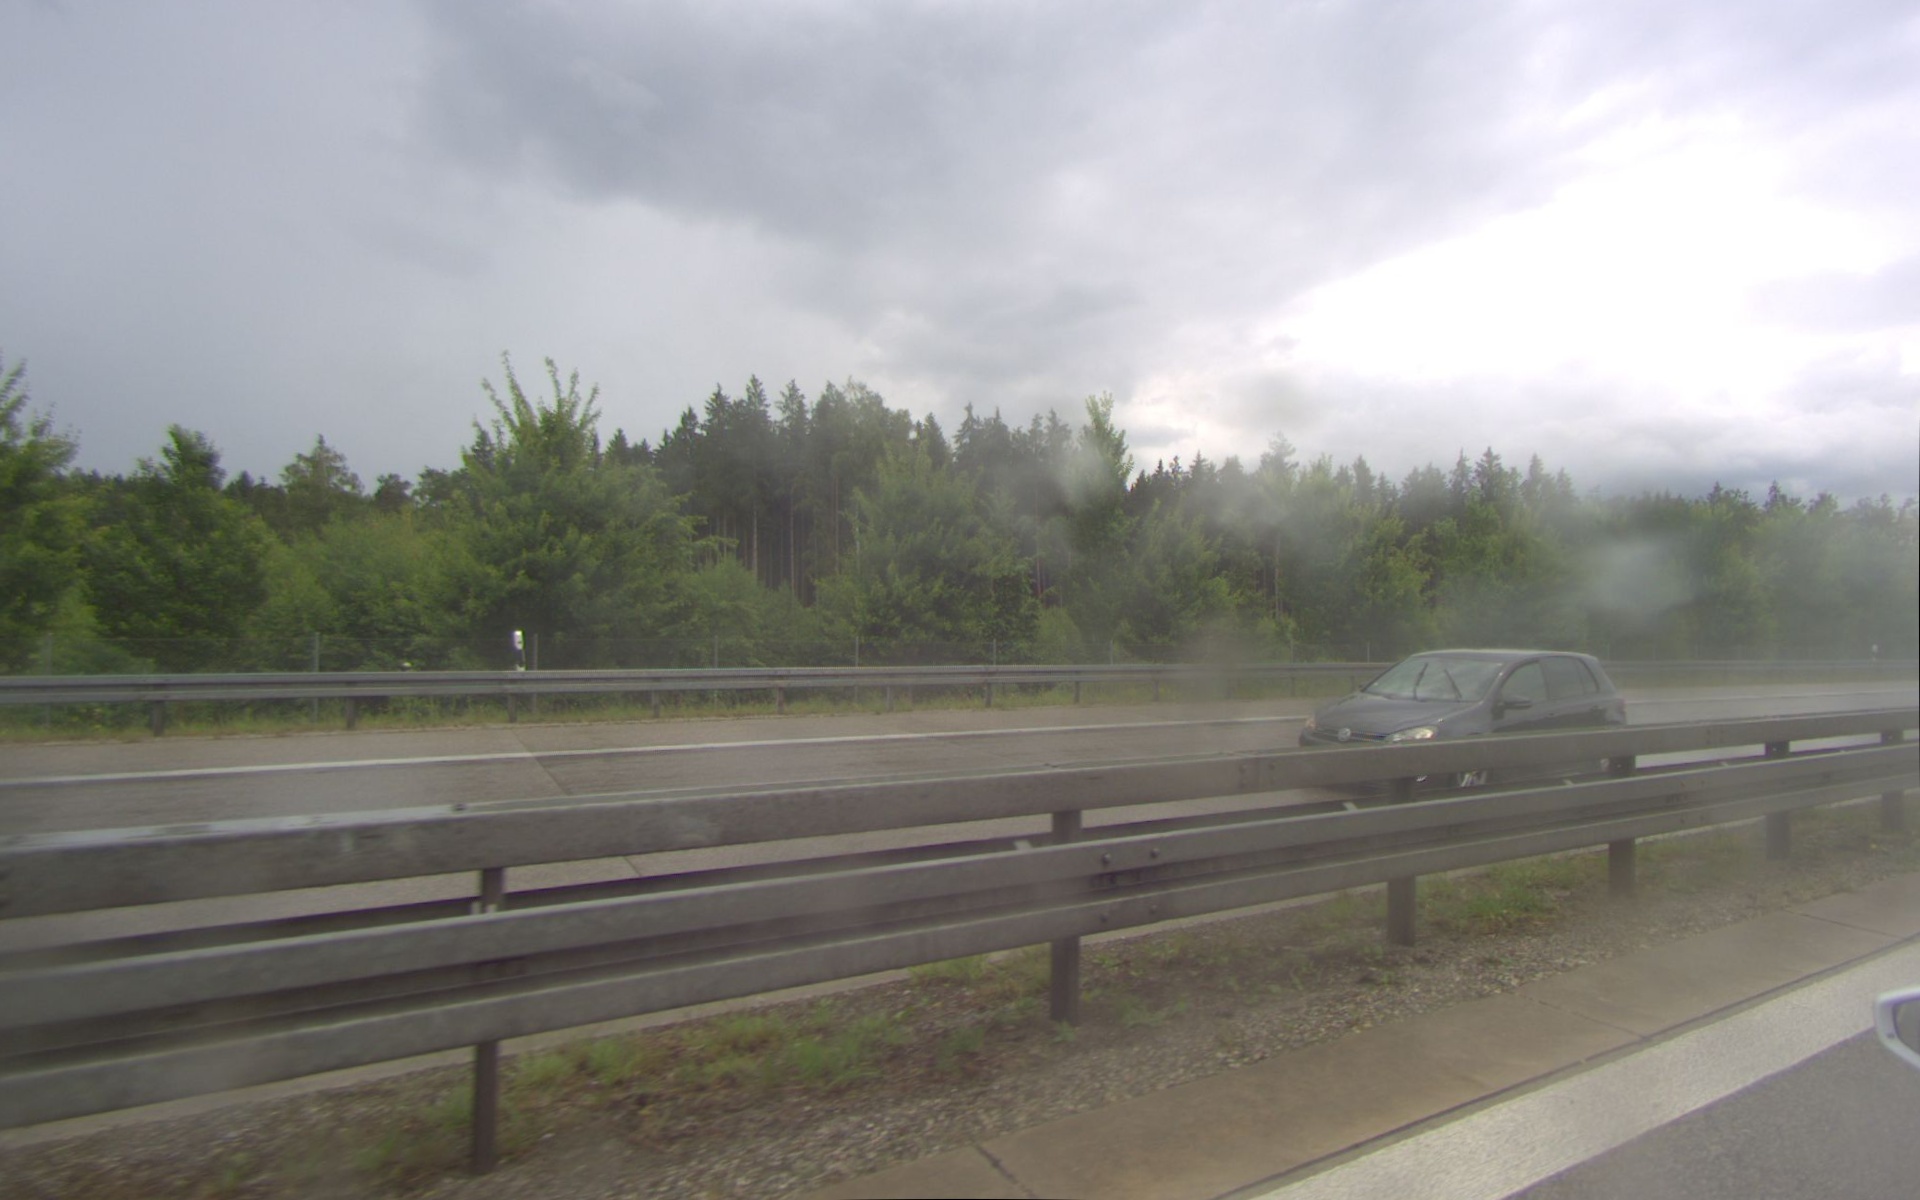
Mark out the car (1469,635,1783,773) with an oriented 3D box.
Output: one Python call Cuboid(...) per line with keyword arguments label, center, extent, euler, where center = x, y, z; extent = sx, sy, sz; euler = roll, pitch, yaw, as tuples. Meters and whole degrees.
Cuboid(label="car", center=(8.983, 1.314, 13.478), extent=(4.173, 1.519, 1.892), euler=(3, -1, -31))
